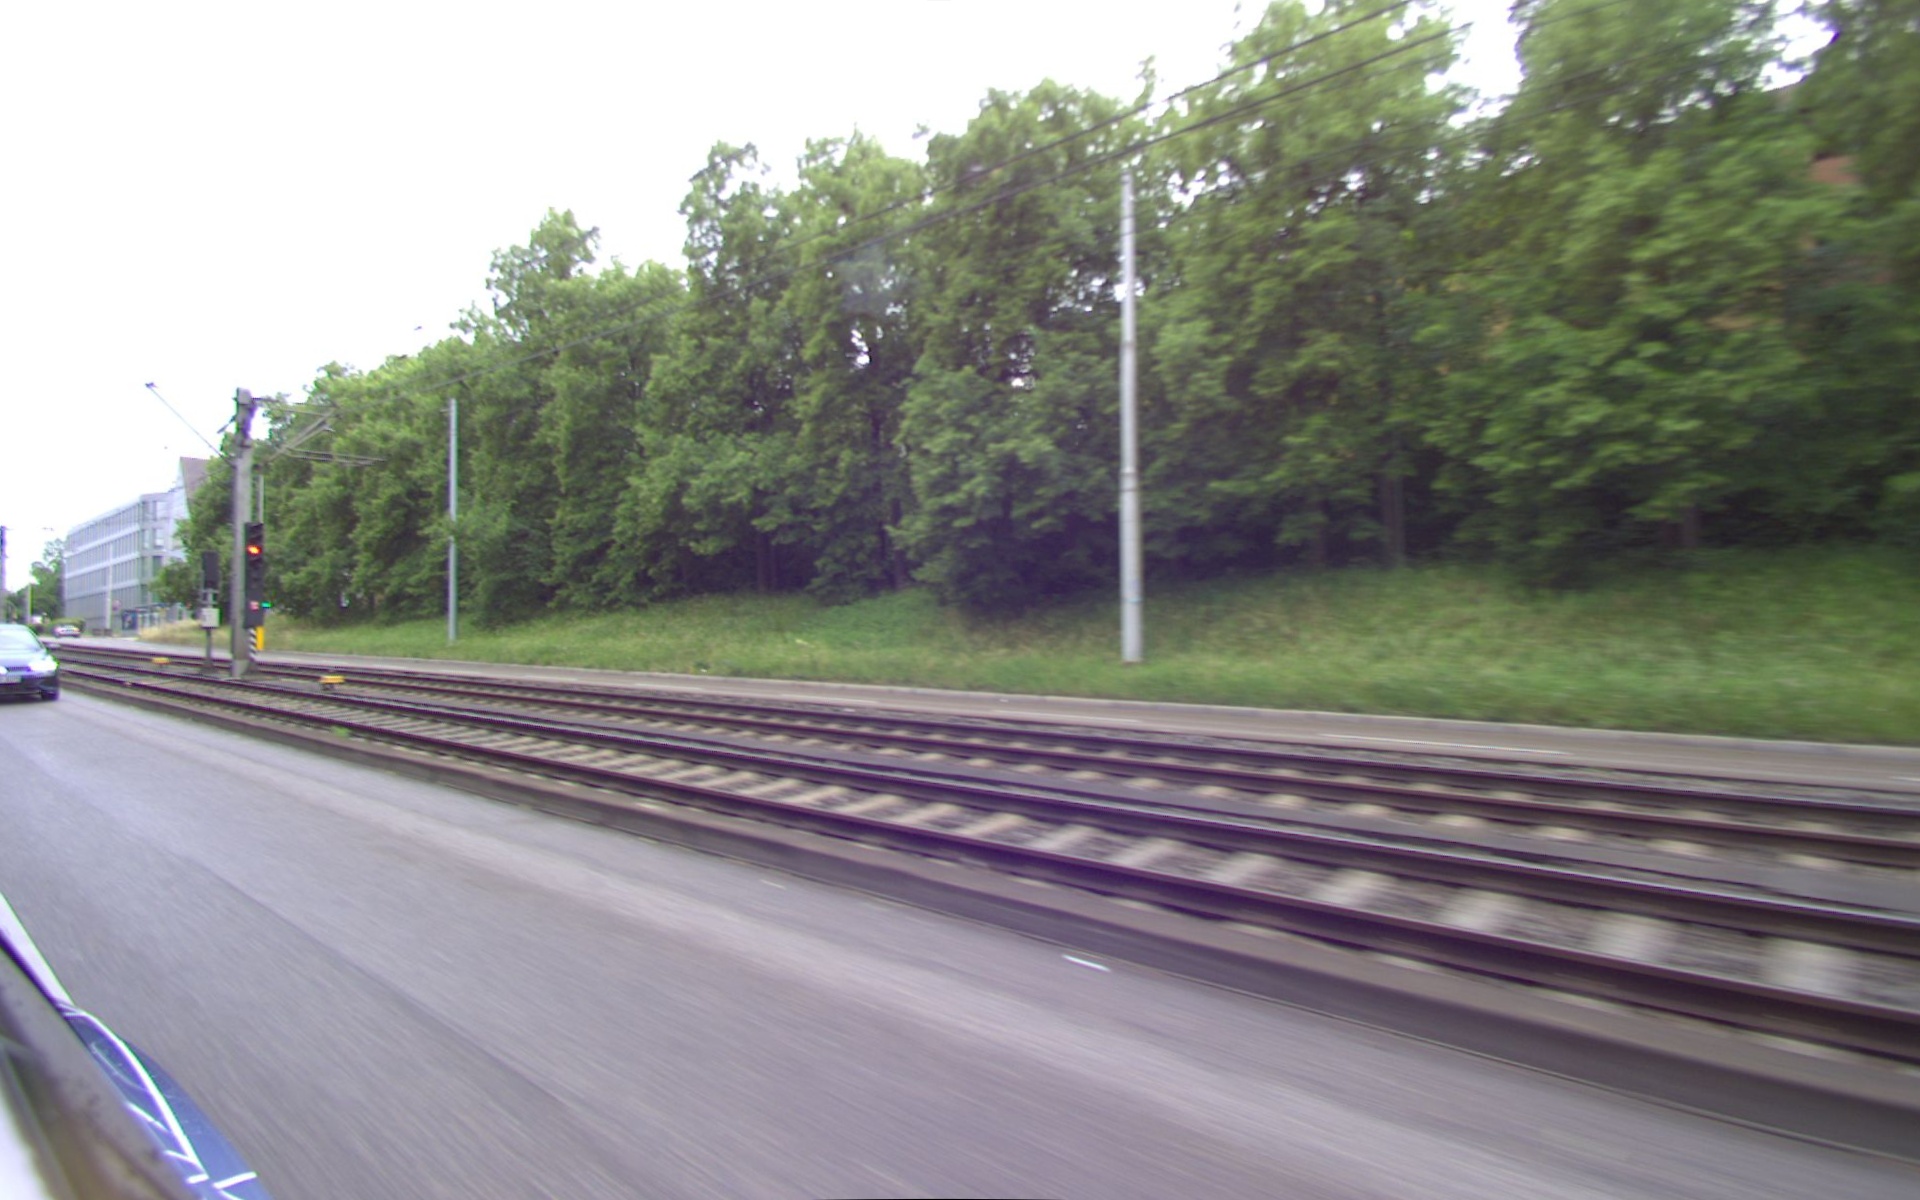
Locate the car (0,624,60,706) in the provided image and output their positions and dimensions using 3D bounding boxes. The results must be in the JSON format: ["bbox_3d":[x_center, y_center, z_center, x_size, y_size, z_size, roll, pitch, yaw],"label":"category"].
[{"bbox_3d":[-18.558,1.196,19.206,3.832,1.459,1.747,-2,-2,41],"label":"car"}]

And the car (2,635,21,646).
[{"bbox_3d":[-138.046,5.874,147.262,4.379,1.541,1.635,-2,-2,42],"label":"car"}]

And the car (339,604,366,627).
[{"bbox_3d":[-53.809,1.403,89.604,1.934,2.029,4.228,1,-2,-33],"label":"car"}]

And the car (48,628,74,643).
[{"bbox_3d":[-90.114,3.582,101.432,3.908,1.447,1.460,-2,-4,42],"label":"car"}]
